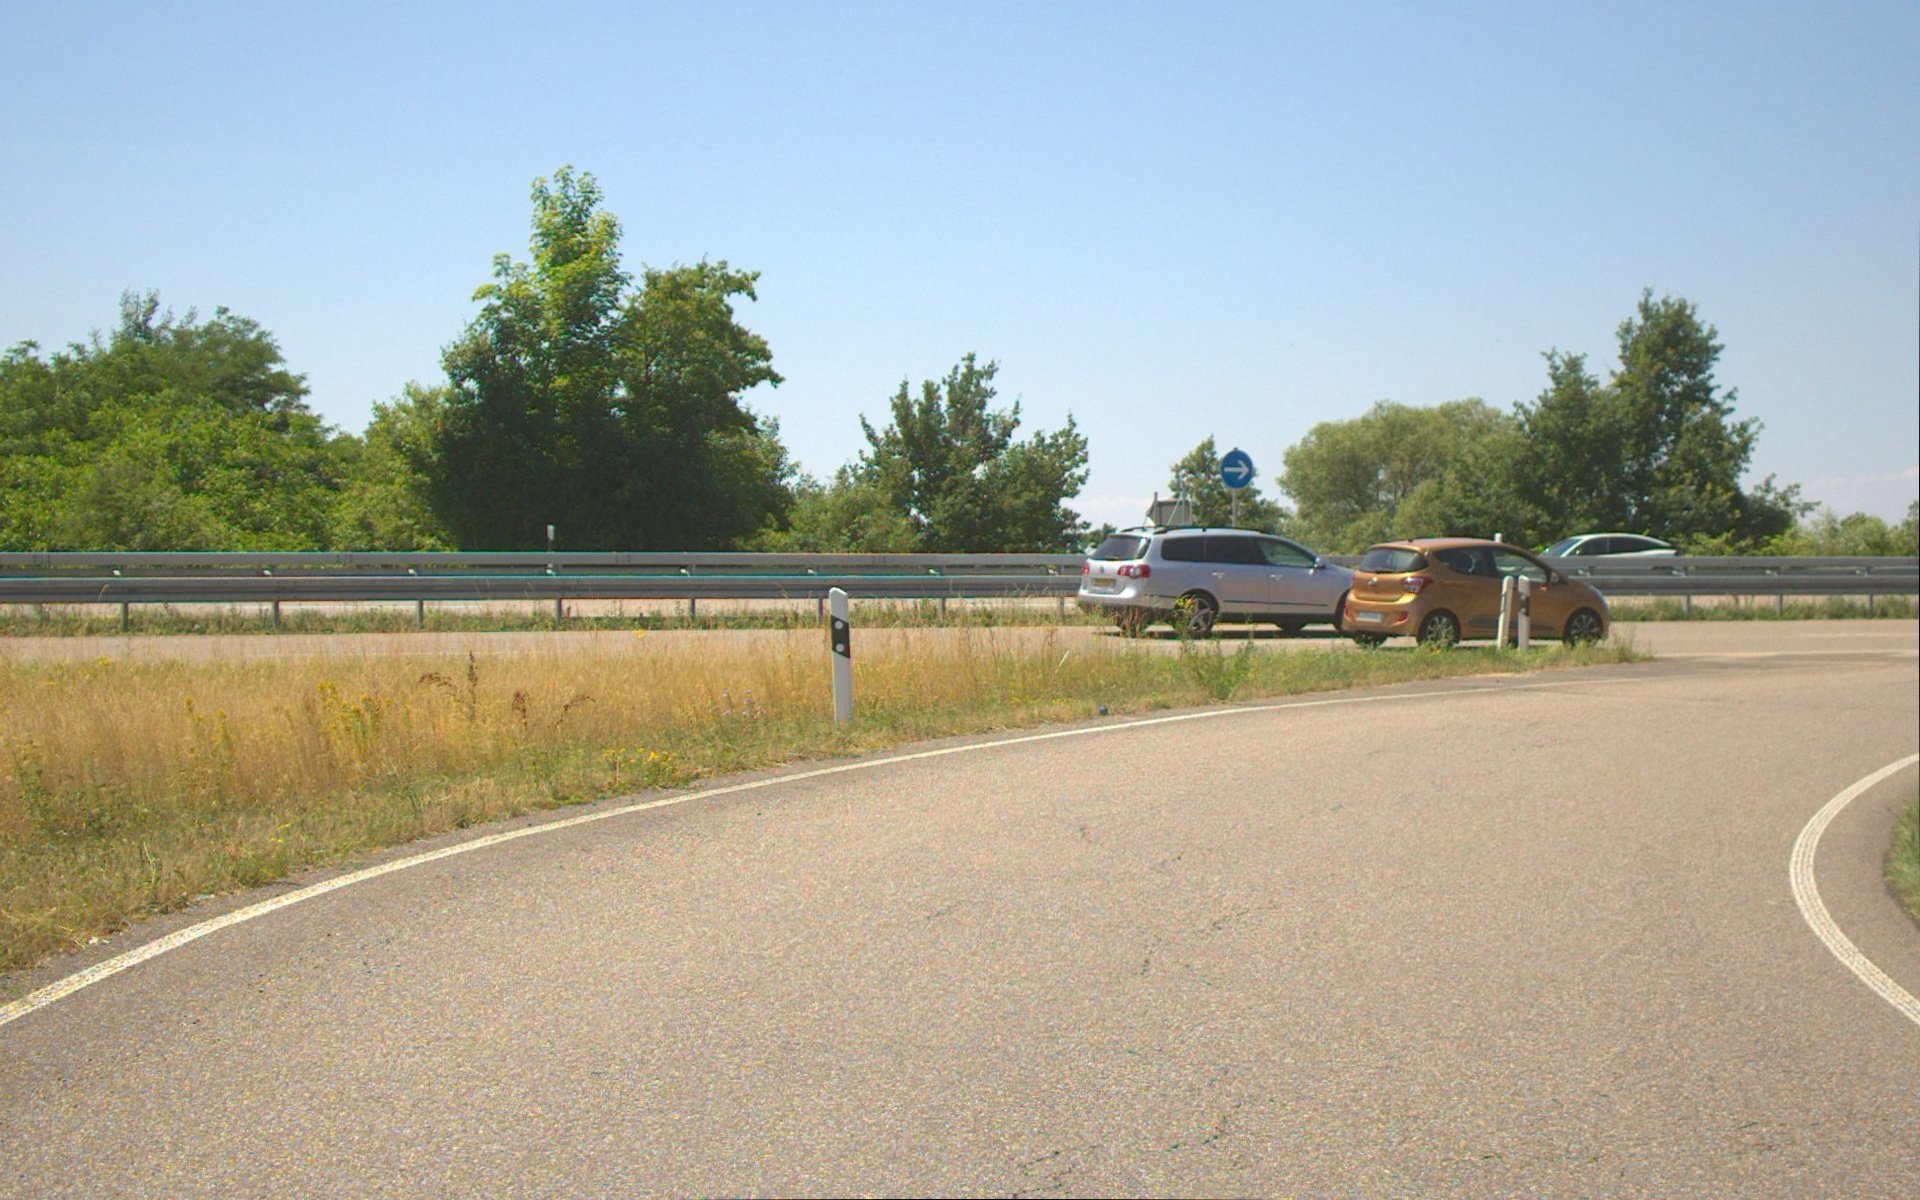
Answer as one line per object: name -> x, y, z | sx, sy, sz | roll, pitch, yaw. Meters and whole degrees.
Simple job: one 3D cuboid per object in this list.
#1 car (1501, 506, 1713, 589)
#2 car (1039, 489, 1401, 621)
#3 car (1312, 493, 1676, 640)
car -> 14.220, -1.158, 75.670 | 4.101, 1.744, 2.001 | 1, 2, -9
car -> 3.686, -0.643, 48.499 | 4.769, 1.783, 2.000 | 0, 2, -30
car -> 7.164, -0.429, 46.058 | 4.513, 1.783, 2.000 | 2, 0, -30
